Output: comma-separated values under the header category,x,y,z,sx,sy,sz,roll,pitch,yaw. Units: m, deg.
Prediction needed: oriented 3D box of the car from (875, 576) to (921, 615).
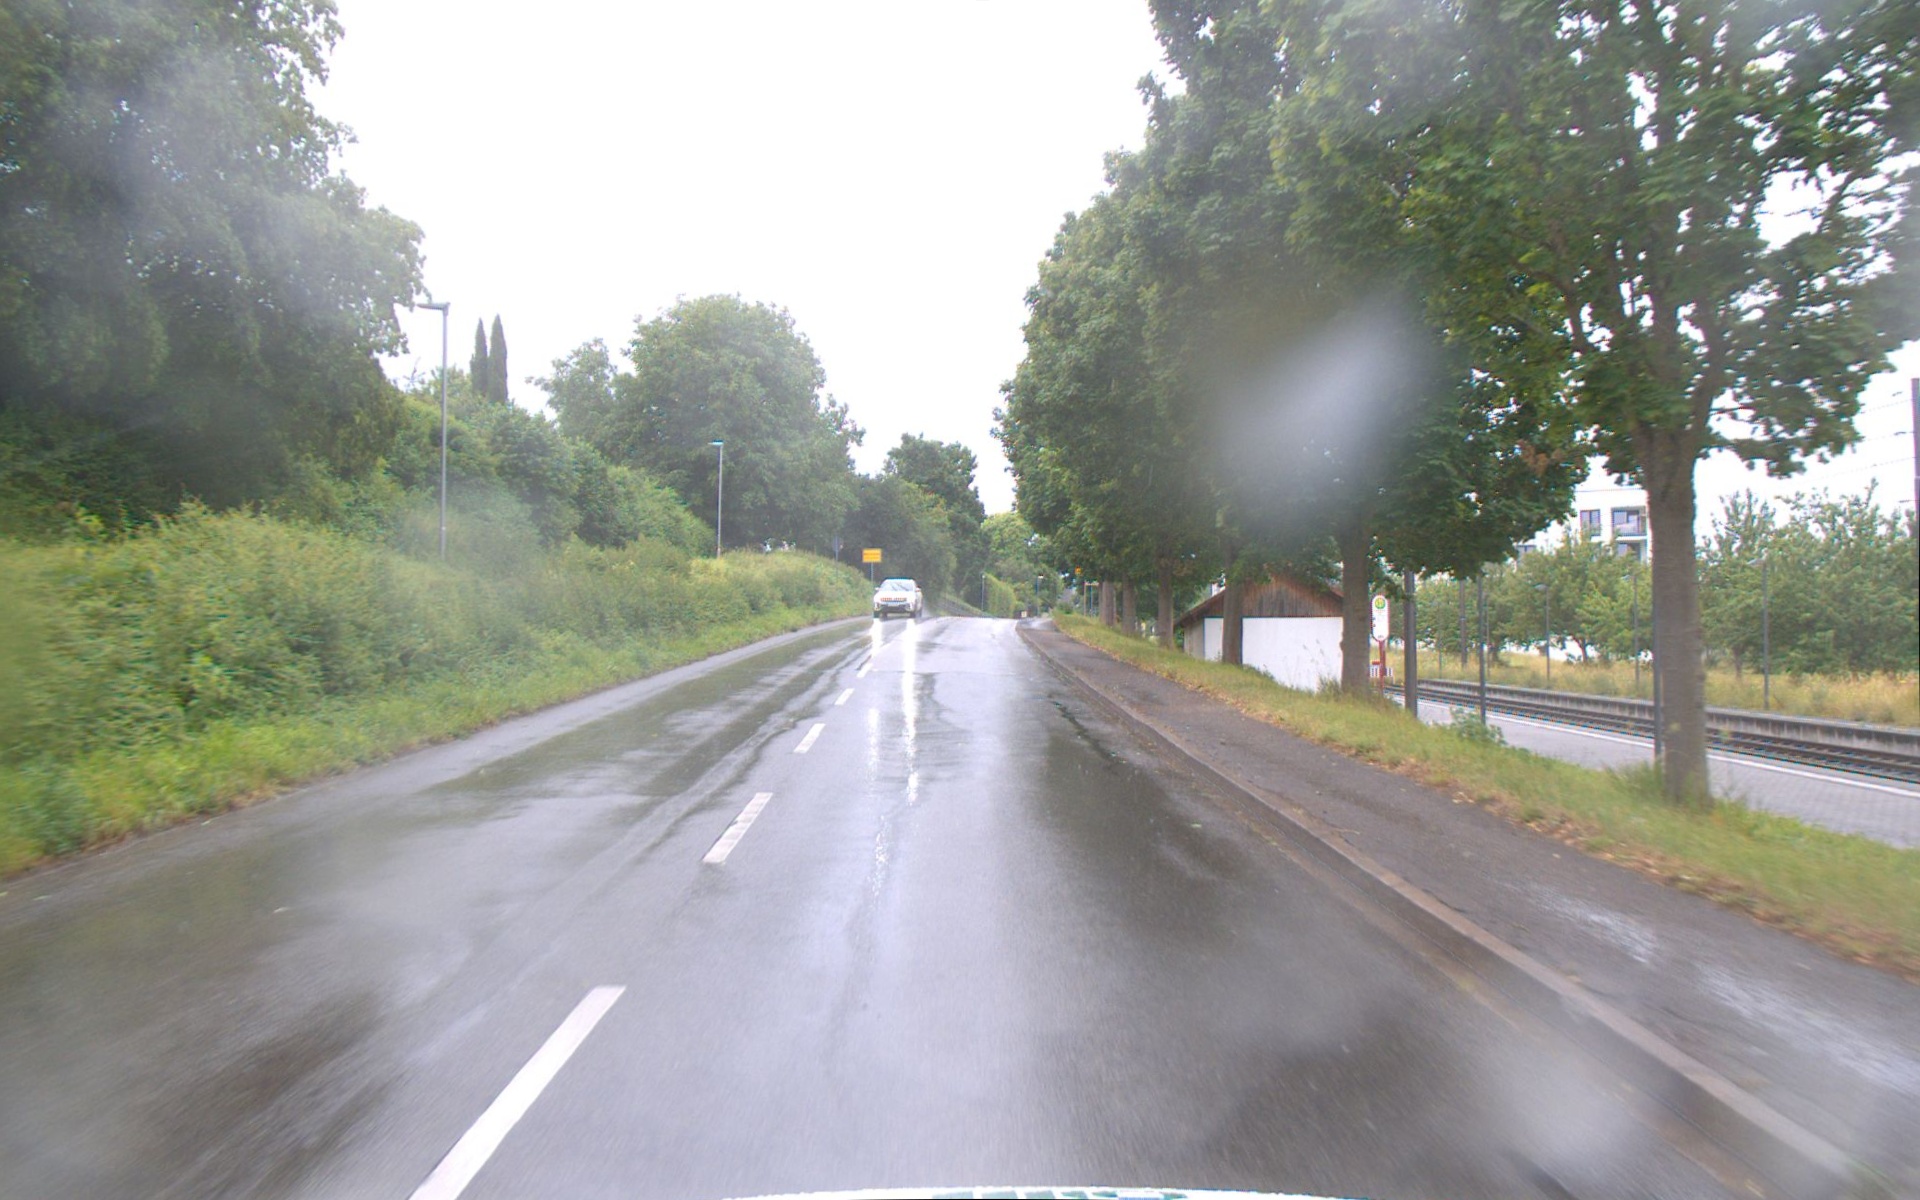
category,x,y,z,sx,sy,sz,roll,pitch,yaw
car,-2.610,-0.221,70.018,1.745,1.531,4.001,0,2,0
